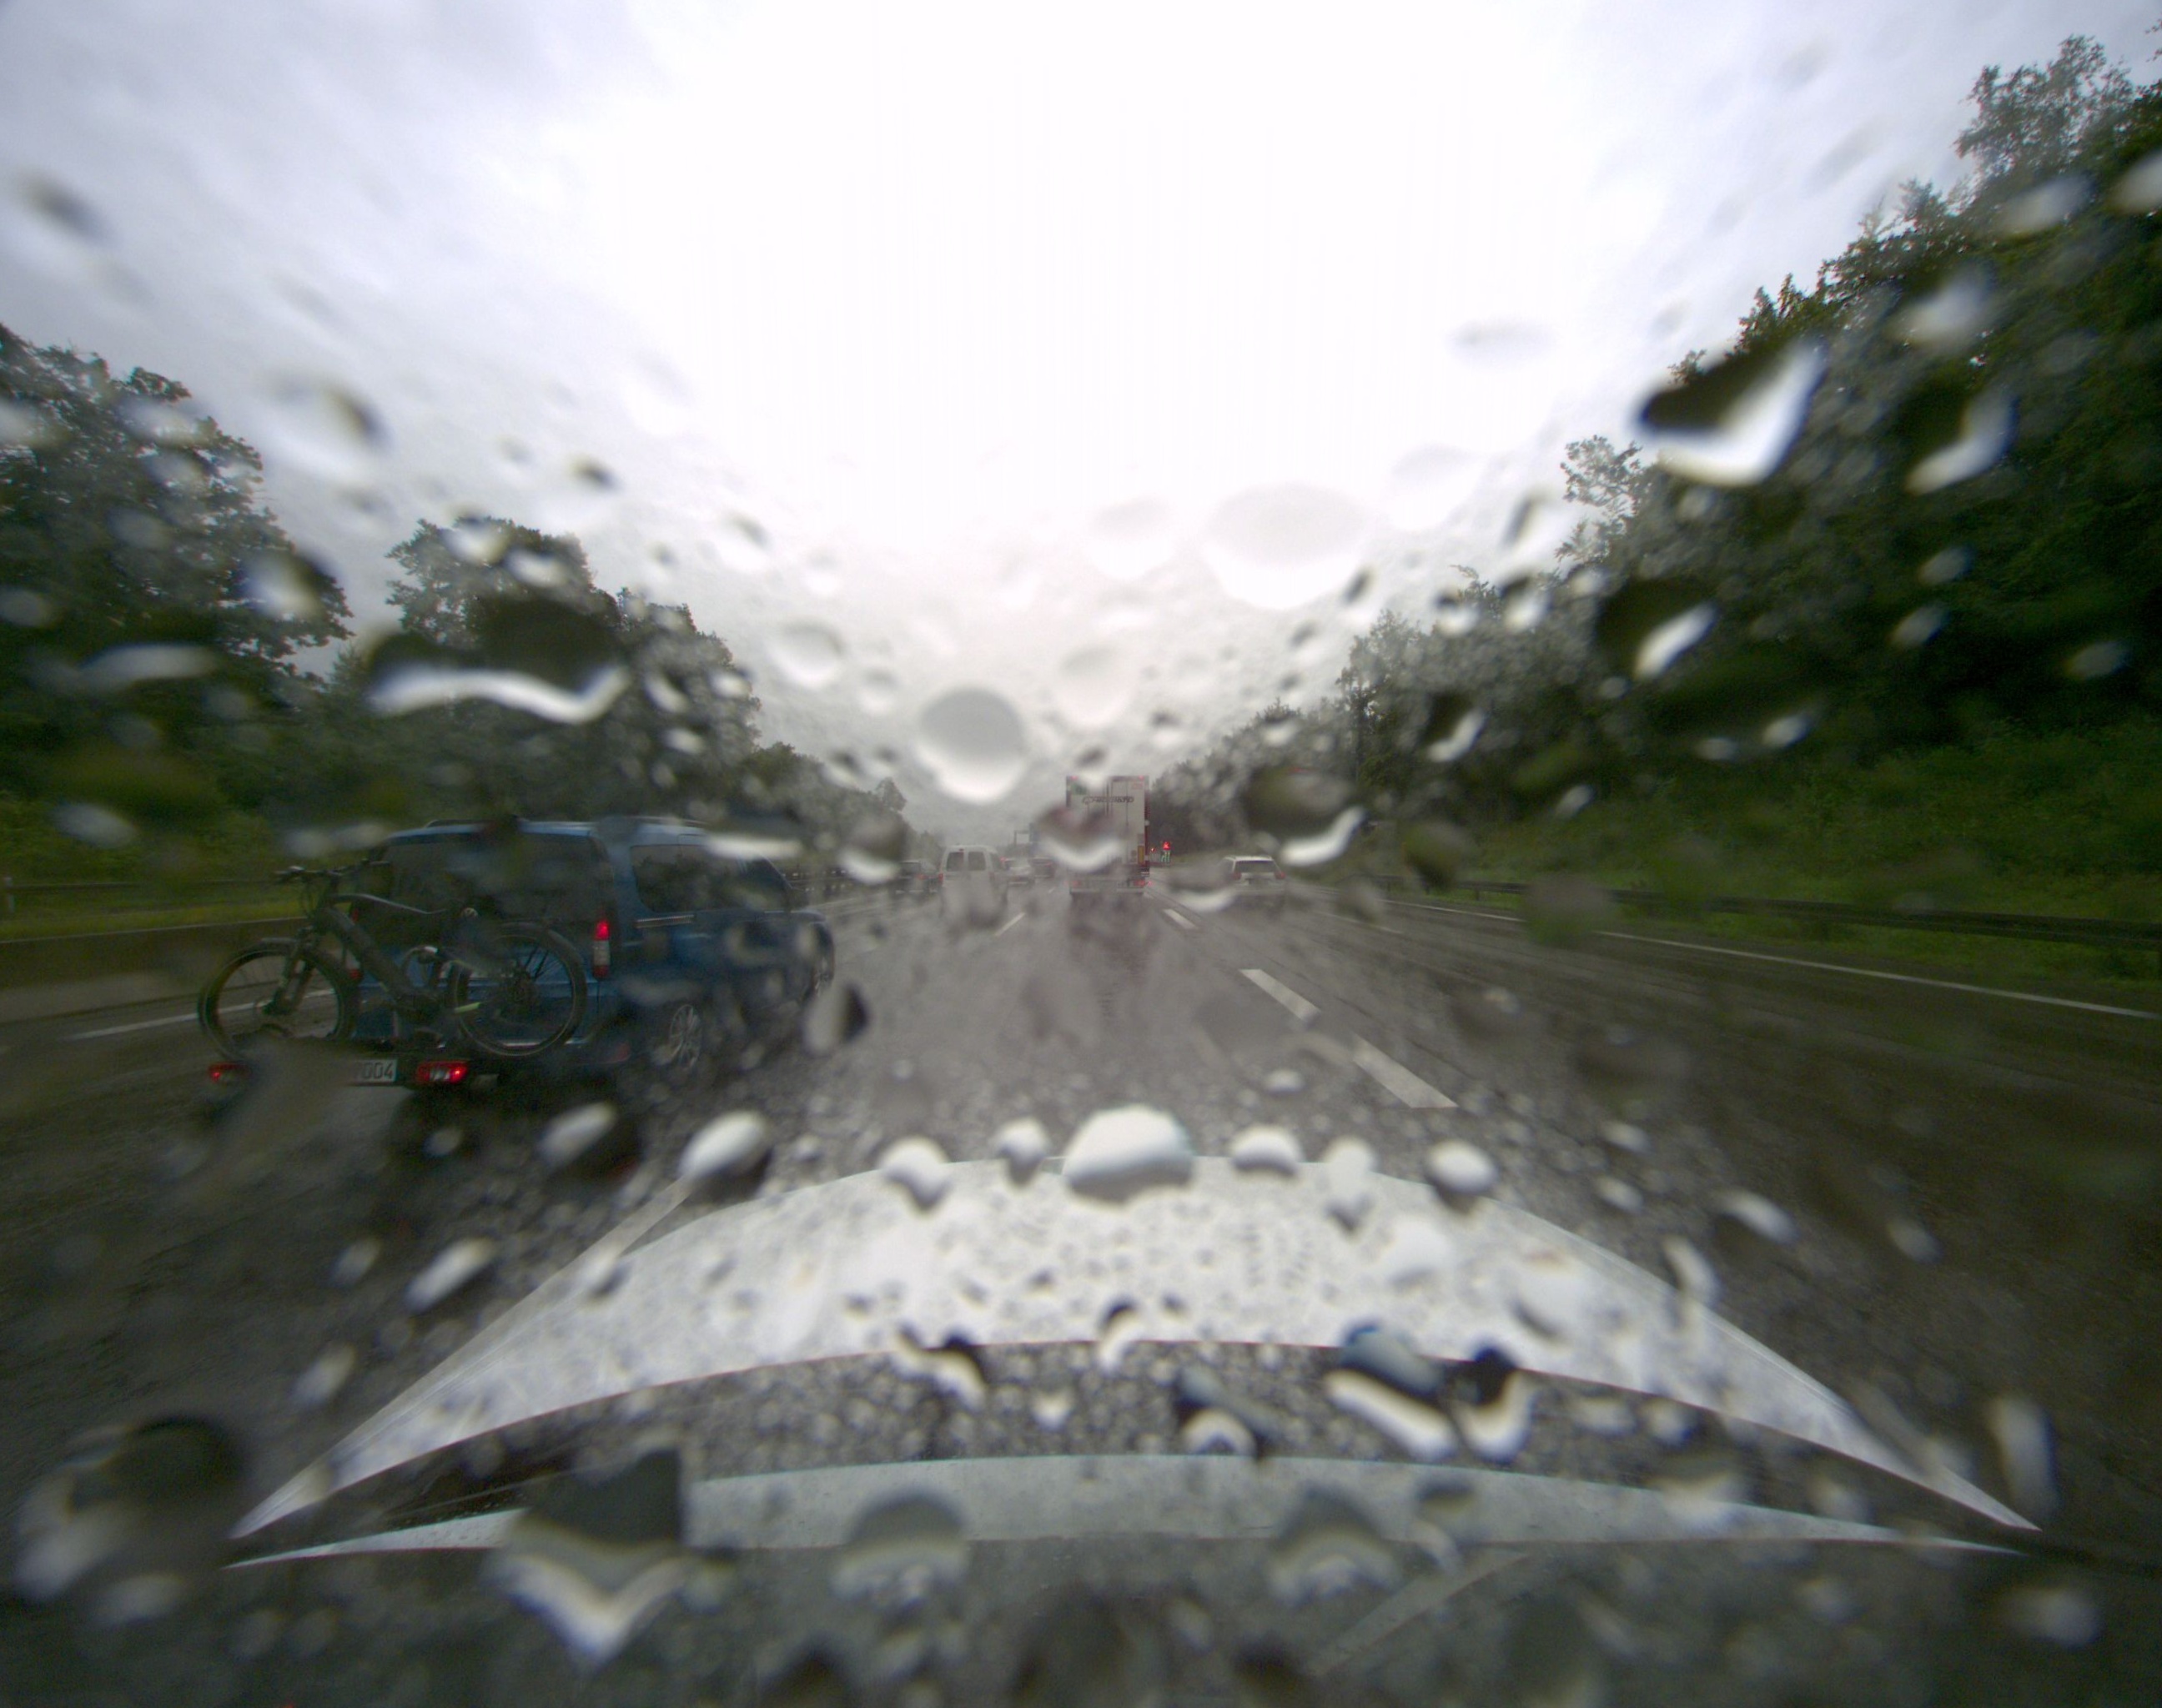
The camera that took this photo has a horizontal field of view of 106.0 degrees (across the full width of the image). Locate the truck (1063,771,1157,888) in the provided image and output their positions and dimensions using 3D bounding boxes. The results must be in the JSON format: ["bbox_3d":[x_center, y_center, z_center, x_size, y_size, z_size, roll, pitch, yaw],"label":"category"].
[{"bbox_3d":[0.980,-0.687,30.581,2.862,3.562,11.303,0,-1,1],"label":"truck"}]

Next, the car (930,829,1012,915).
[{"bbox_3d":[-3.529,0.545,27.098,2.207,2.573,5.011,0,0,-2],"label":"car"}]

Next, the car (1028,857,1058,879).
[{"bbox_3d":[-2.739,0.998,60.108,1.838,1.591,4.468,0,0,2],"label":"car"}]

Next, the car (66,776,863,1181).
[{"bbox_3d":[-3.629,0.588,6.387,2.260,1.912,5.019,0,0,3],"label":"car"}]

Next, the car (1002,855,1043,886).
[{"bbox_3d":[-3.151,0.849,44.649,1.838,1.591,4.073,0,0,2],"label":"car"}]

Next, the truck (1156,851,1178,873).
[{"bbox_3d":[12.015,1.073,114.598,2.579,2.941,6.459,0,0,2],"label":"truck"}]

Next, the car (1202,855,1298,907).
[{"bbox_3d":[4.896,0.723,24.254,2.000,1.394,4.568,0,0,1],"label":"car"}]

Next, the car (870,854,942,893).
[{"bbox_3d":[-7.274,0.775,34.377,2.084,1.504,4.751,0,0,-1],"label":"car"}]
